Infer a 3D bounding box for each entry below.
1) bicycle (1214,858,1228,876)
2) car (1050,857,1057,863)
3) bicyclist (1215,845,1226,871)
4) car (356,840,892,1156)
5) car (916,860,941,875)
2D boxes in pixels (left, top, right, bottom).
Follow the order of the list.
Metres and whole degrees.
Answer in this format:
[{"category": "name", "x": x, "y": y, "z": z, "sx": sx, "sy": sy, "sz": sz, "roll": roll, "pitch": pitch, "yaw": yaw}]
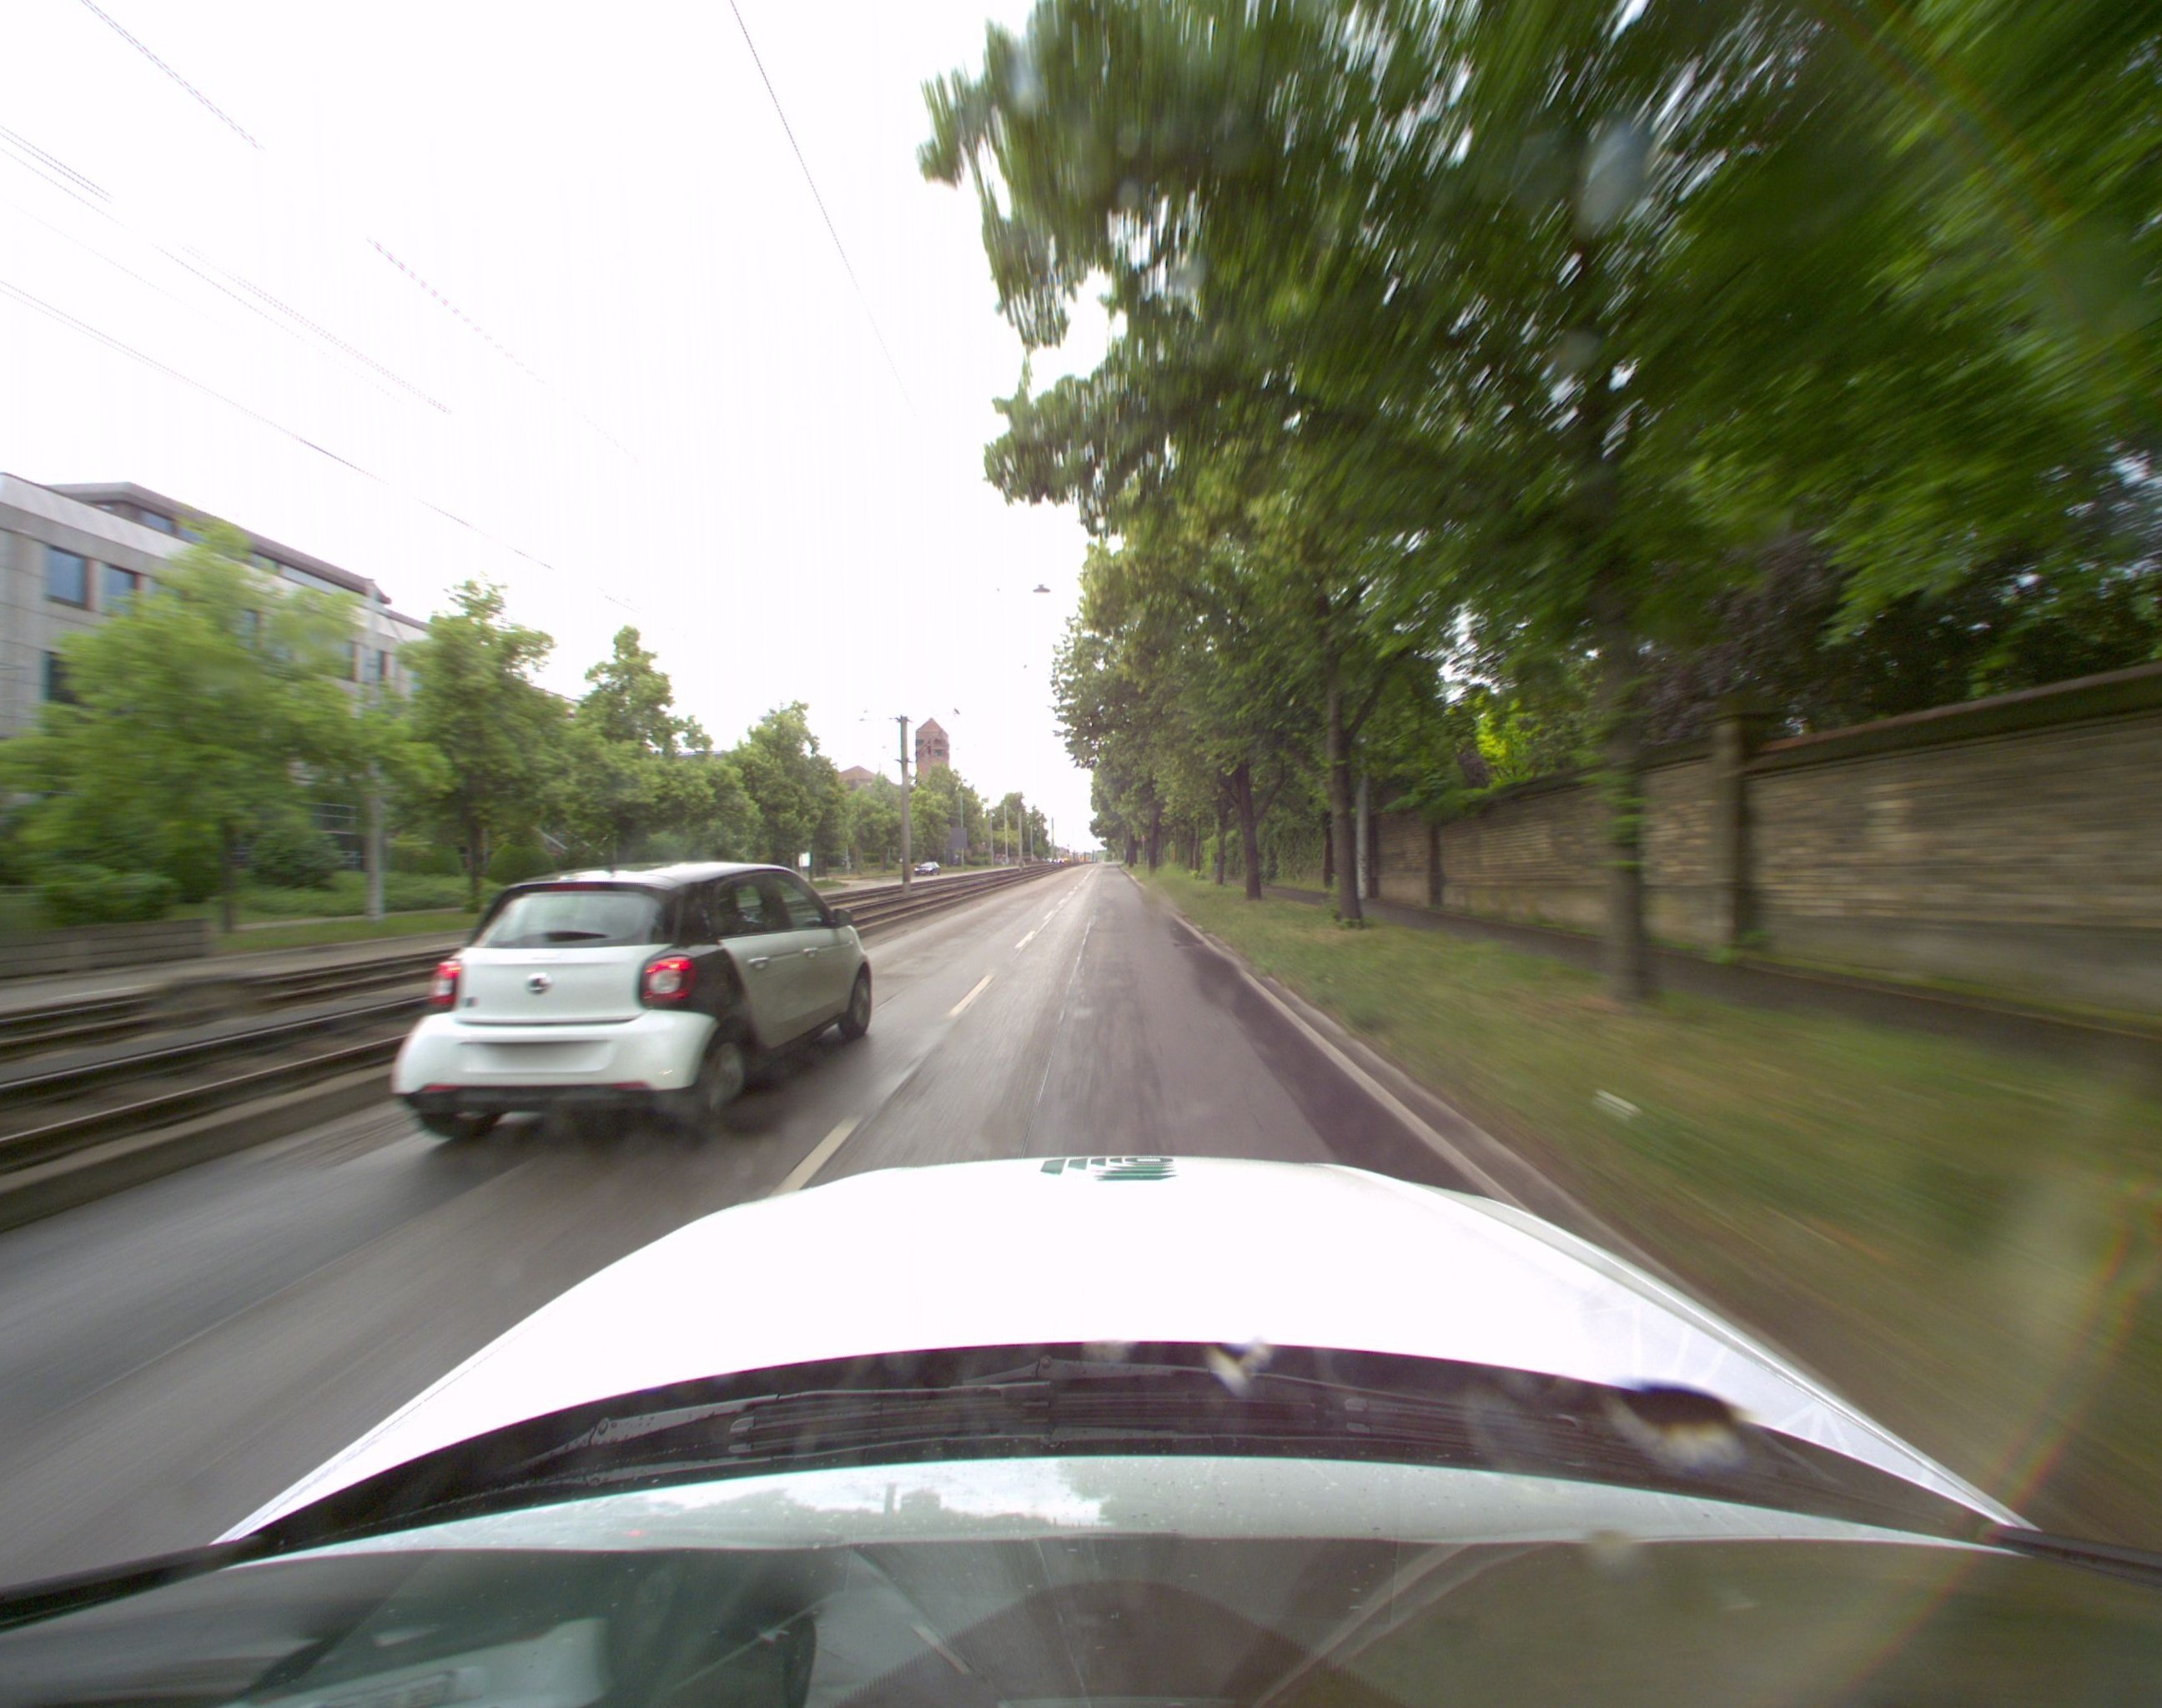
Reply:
[{"category": "bicycle", "x": 7.708, "y": 0.718, "z": 44.852, "sx": 0.540, "sy": 0.948, "sz": 2.553, "roll": -2, "pitch": 0, "yaw": 5}, {"category": "car", "x": -8.528, "y": 1.769, "z": 251.329, "sx": 2.009, "sy": 1.656, "sz": 4.609, "roll": -1, "pitch": 0, "yaw": -5}, {"category": "bicyclist", "x": 7.688, "y": 0.202, "z": 44.859, "sx": 0.532, "sy": 1.389, "sz": 0.667, "roll": -2, "pitch": -1, "yaw": 4}, {"category": "car", "x": -2.724, "y": 0.718, "z": 5.936, "sx": 1.670, "sy": 1.531, "sz": 3.723, "roll": -2, "pitch": 0, "yaw": 2}, {"category": "car", "x": -16.351, "y": 1.417, "z": 87.642, "sx": 1.788, "sy": 1.530, "sz": 4.622, "roll": -1, "pitch": 0, "yaw": 0}]
